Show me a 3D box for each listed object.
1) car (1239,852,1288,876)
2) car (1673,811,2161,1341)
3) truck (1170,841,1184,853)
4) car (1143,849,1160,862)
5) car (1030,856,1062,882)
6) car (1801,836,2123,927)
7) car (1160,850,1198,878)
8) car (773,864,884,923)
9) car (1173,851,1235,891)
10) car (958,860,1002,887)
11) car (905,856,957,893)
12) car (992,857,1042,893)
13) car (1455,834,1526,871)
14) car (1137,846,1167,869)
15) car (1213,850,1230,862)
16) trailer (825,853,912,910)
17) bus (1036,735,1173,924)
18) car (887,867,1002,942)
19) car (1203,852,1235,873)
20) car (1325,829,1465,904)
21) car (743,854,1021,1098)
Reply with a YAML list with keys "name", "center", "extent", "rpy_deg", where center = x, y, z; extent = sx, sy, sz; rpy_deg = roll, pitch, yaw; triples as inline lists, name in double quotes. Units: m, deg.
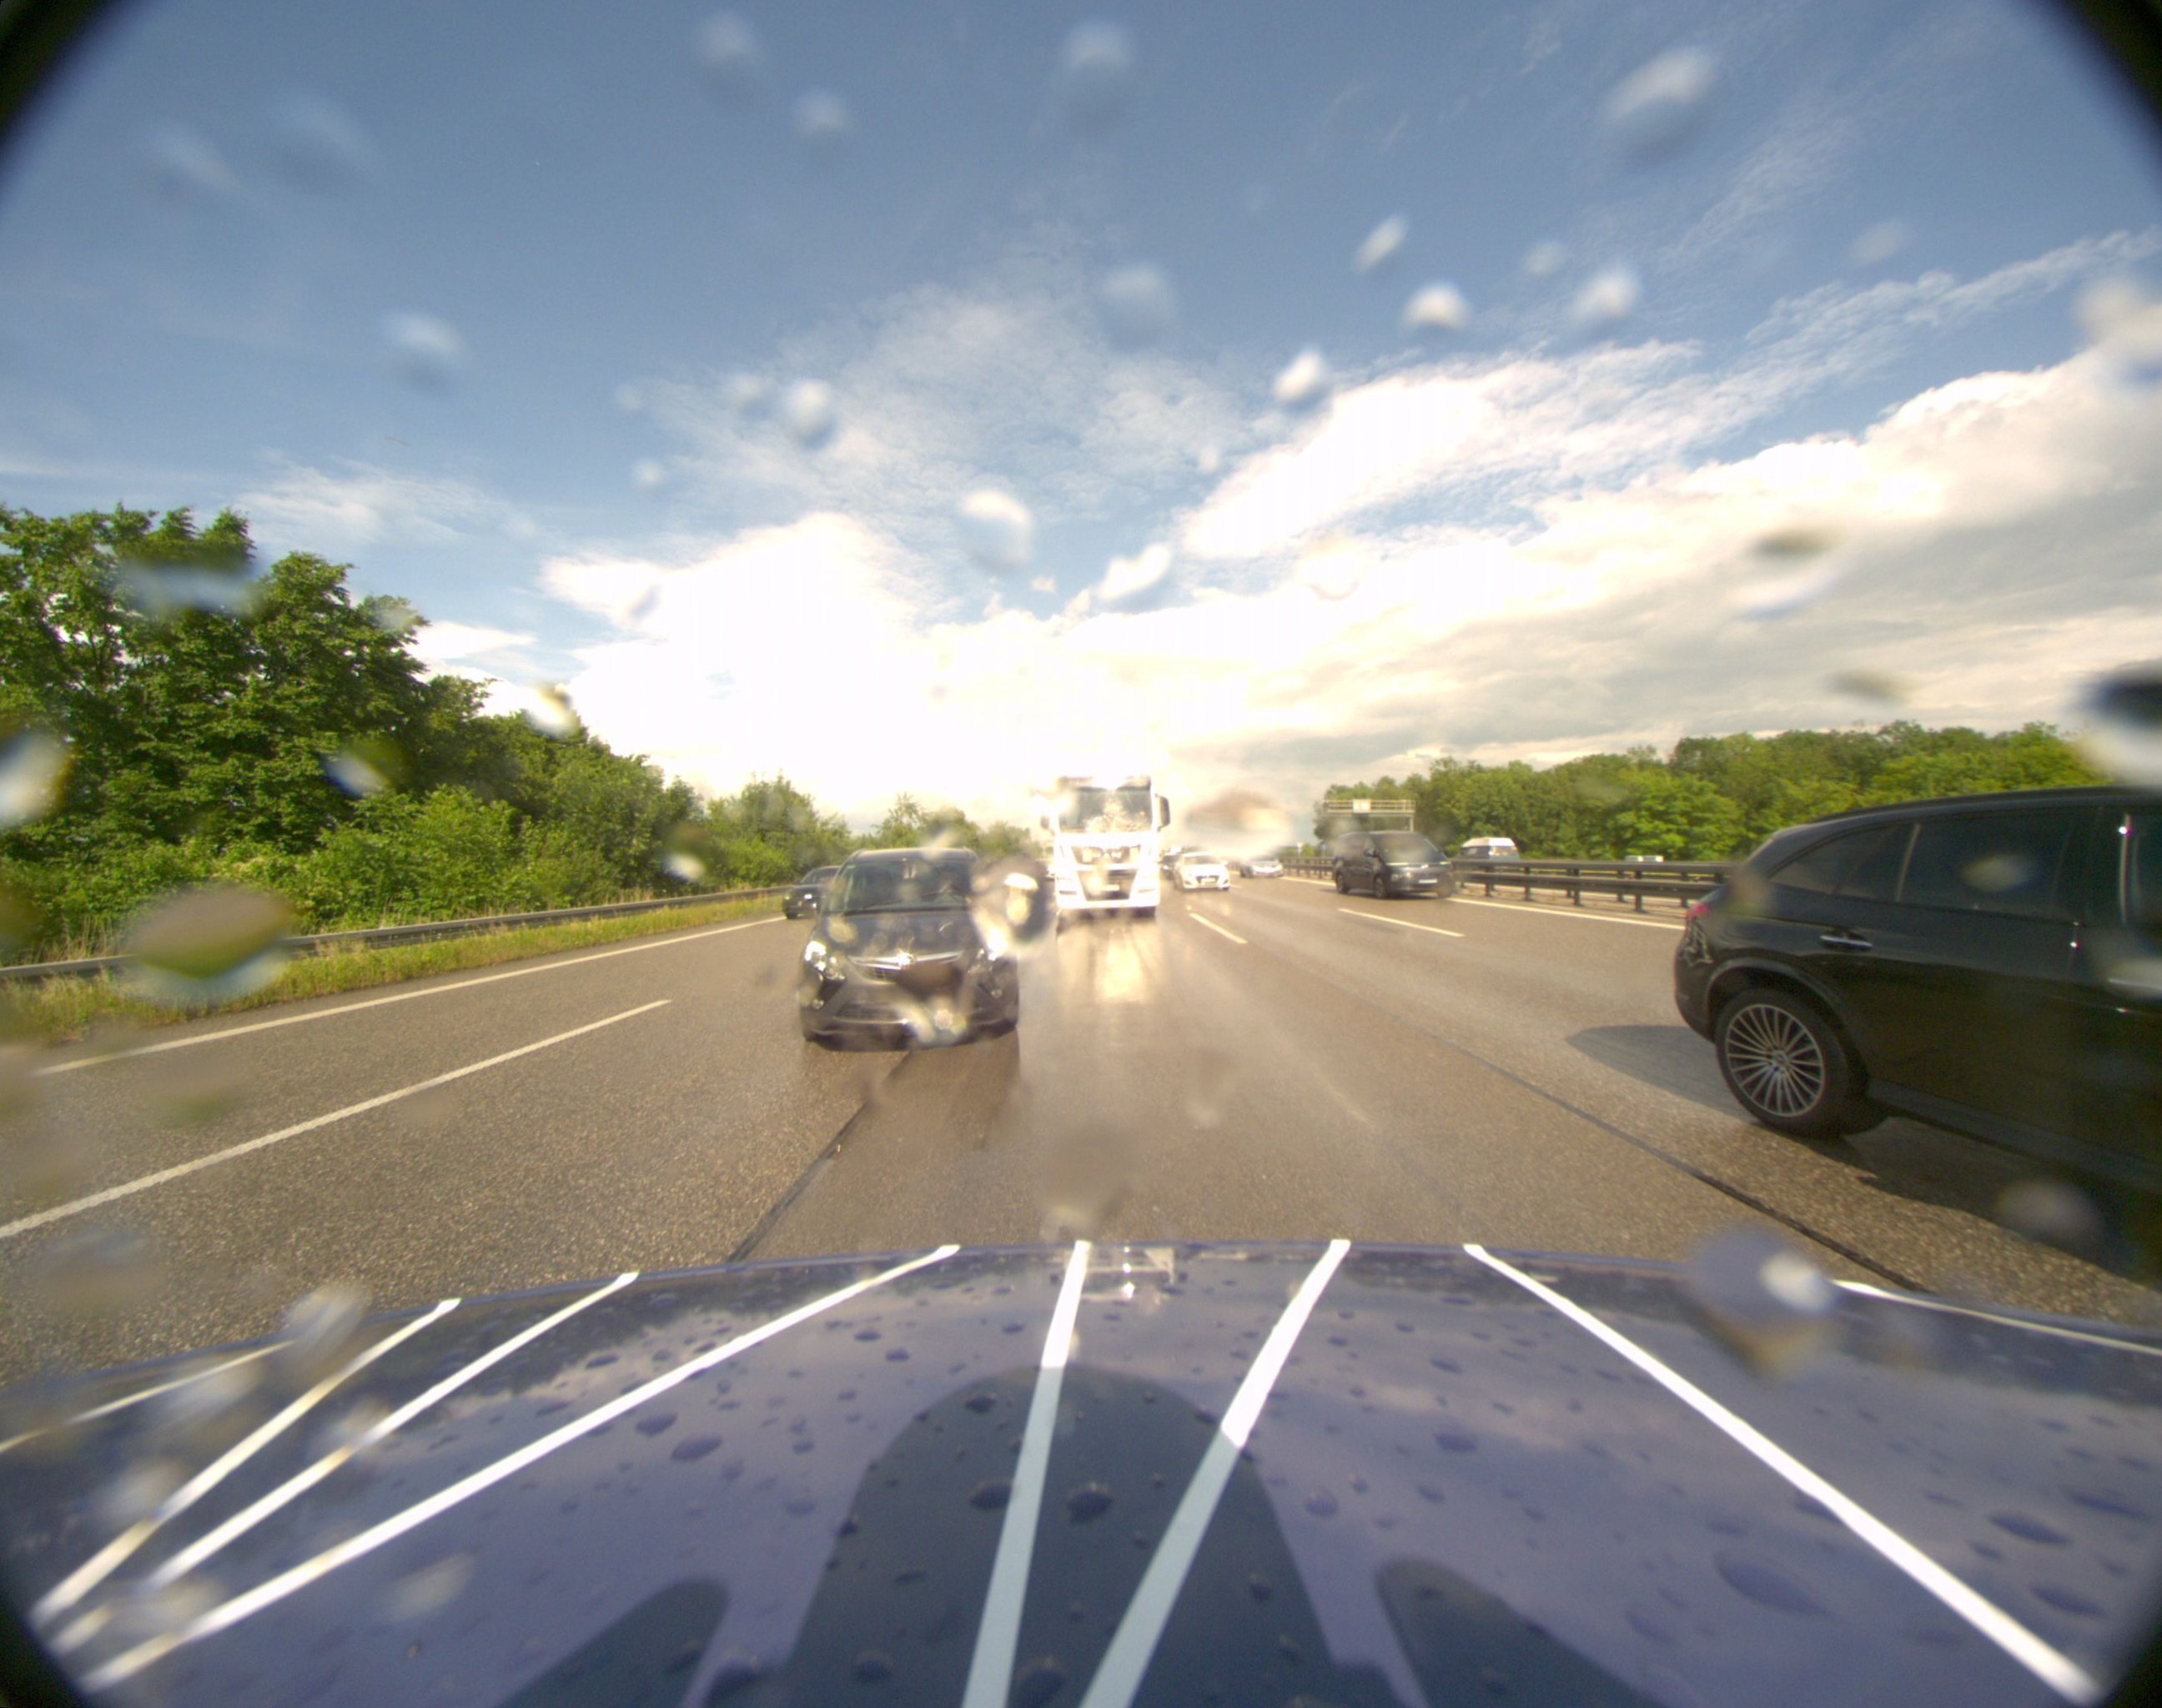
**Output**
- name: "car"
  center: [9.748, 0.519, 40.810]
  extent: [1.857, 1.182, 3.583]
  rpy_deg: [-2, 0, 2]
- name: "car"
  center: [4.314, 0.674, 2.039]
  extent: [1.881, 1.669, 4.626]
  rpy_deg: [-2, 0, 1]
- name: "truck"
  center: [26.433, -1.950, 209.352]
  extent: [2.923, 2.970, 8.721]
  rpy_deg: [-2, 1, 0]
- name: "car"
  center: [9.761, 0.233, 105.708]
  extent: [1.900, 1.740, 3.999]
  rpy_deg: [-2, 1, -1]
- name: "car"
  center: [-2.146, 0.891, 47.480]
  extent: [1.858, 1.434, 3.999]
  rpy_deg: [-2, 0, -1]
- name: "car"
  center: [16.266, 0.446, 14.350]
  extent: [1.850, 1.443, 3.632]
  rpy_deg: [-2, 0, -1]
- name: "car"
  center: [5.429, 0.525, 42.386]
  extent: [1.597, 1.390, 3.999]
  rpy_deg: [-2, 0, 0]
- name: "car"
  center: [-7.186, 1.066, 22.093]
  extent: [1.747, 1.422, 4.404]
  rpy_deg: [-2, 0, -1]
- name: "car"
  center: [4.721, 0.616, 29.613]
  extent: [1.809, 1.389, 4.240]
  rpy_deg: [-1, 0, 1]
- name: "car"
  center: [-5.737, 1.066, 43.714]
  extent: [1.771, 1.343, 4.580]
  rpy_deg: [-2, 0, 1]
- name: "car"
  center: [-6.657, 0.862, 34.016]
  extent: [1.616, 1.480, 3.480]
  rpy_deg: [-2, 1, -1]
- name: "car"
  center: [-2.679, 0.844, 32.578]
  extent: [1.744, 1.357, 4.000]
  rpy_deg: [-2, 0, 1]
- name: "car"
  center: [24.130, -0.111, 44.940]
  extent: [1.998, 2.002, 4.363]
  rpy_deg: [-2, 0, 4]
- name: "car"
  center: [5.432, 0.260, 58.734]
  extent: [1.889, 1.707, 3.999]
  rpy_deg: [-2, 1, -1]
- name: "car"
  center: [23.438, 0.302, 126.689]
  extent: [1.856, 2.002, 5.077]
  rpy_deg: [-2, 1, 0]
- name: "trailer"
  center: [-7.254, 0.869, 26.288]
  extent: [1.810, 1.736, 3.967]
  rpy_deg: [-3, 0, 0]
- name: "bus"
  center: [0.596, -0.564, 21.929]
  extent: [2.904, 4.104, 9.845]
  rpy_deg: [-2, 0, 1]
- name: "car"
  center: [-2.845, 1.008, 16.672]
  extent: [1.722, 1.346, 3.884]
  rpy_deg: [-2, 0, 1]
- name: "car"
  center: [10.069, 0.620, 55.629]
  extent: [1.618, 1.412, 4.000]
  rpy_deg: [-2, 0, 1]
- name: "car"
  center: [9.130, 0.311, 22.662]
  extent: [1.998, 1.906, 5.235]
  rpy_deg: [-2, 0, 0]
- name: "car"
  center: [-1.822, 0.844, 7.719]
  extent: [1.860, 1.622, 4.731]
  rpy_deg: [-2, 0, -11]
